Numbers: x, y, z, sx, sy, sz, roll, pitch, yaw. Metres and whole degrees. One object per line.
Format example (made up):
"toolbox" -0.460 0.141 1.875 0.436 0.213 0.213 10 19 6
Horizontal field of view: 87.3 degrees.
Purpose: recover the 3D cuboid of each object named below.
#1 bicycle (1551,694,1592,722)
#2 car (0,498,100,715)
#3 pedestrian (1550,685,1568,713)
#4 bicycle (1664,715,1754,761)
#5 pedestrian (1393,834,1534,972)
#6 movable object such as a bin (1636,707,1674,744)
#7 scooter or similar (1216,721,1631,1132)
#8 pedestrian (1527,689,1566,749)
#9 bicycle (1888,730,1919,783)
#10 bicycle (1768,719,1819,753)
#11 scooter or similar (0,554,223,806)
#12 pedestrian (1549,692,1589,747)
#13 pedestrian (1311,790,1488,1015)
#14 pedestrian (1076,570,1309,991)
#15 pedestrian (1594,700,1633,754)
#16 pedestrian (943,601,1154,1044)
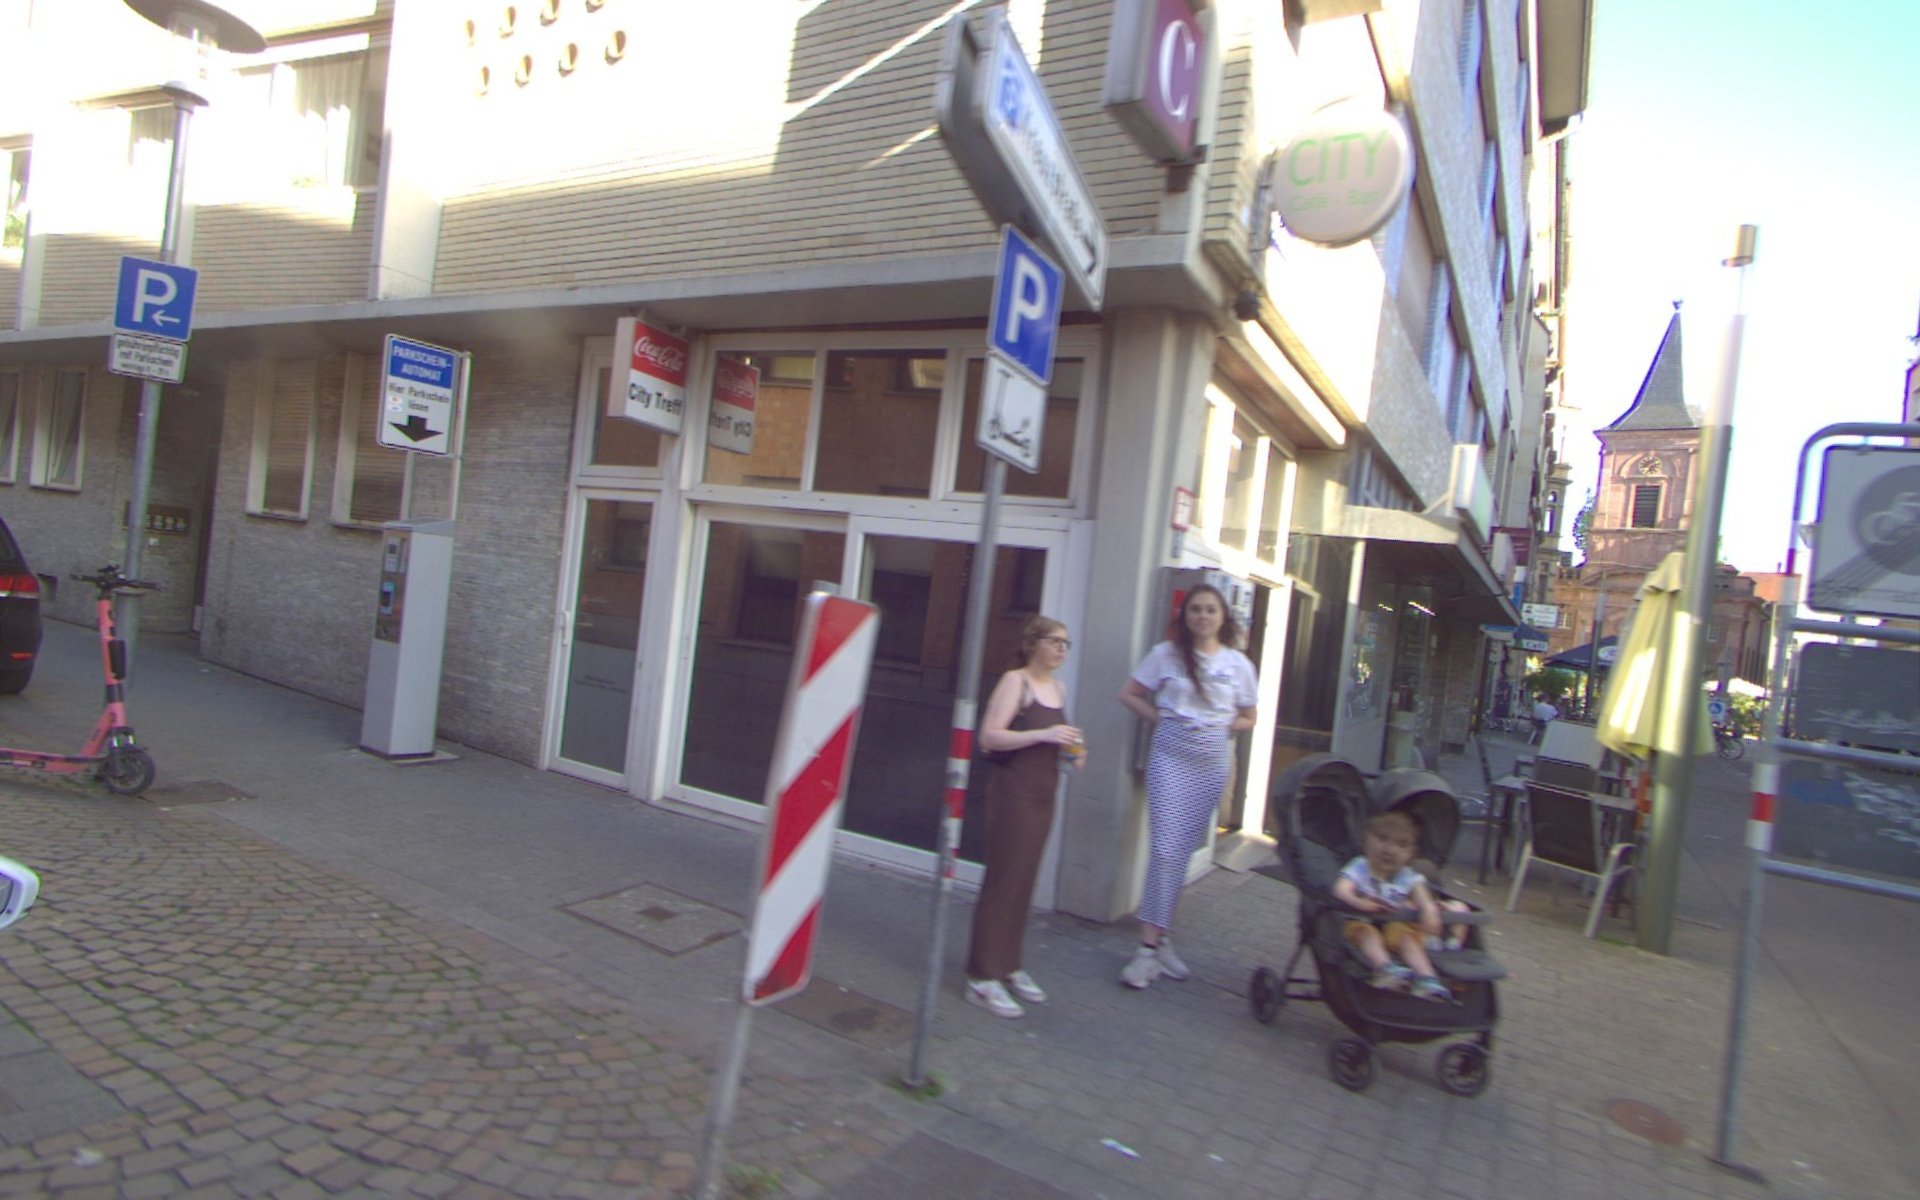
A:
"bicycle" 26.794 4.740 44.098 0.502 1.015 1.388 6 0 -29
"car" -8.933 -0.242 7.911 4.522 1.521 1.828 7 -3 31
"pedestrian" 33.810 5.572 56.768 0.617 1.468 0.797 7 1 23
"bicycle" 23.736 4.357 31.936 2.133 0.996 0.814 8 1 34
"pedestrian" 1.901 1.140 3.820 0.326 0.403 0.312 7 0 -4
"movable object such as a bin" 24.556 4.420 35.559 0.889 1.137 0.779 7 1 29
"scooter or similar" 1.721 1.186 3.916 0.858 1.192 1.040 7 2 -17
"pedestrian" 14.710 2.978 25.228 0.654 1.372 0.550 7 1 26
"bicycle" 27.936 4.592 28.613 2.106 1.361 0.589 7 -8 36
"bicycle" 33.395 5.448 40.307 1.792 1.168 0.408 7 1 -11
"scooter or similar" -4.971 0.413 5.591 1.282 1.209 0.494 7 1 2
"pedestrian" 16.575 3.228 27.380 0.752 1.372 0.549 7 1 35
"pedestrian" 1.580 1.075 3.666 0.326 0.641 0.509 7 0 -4
"pedestrian" 1.029 0.780 4.571 0.617 1.758 0.620 6 1 -16
"pedestrian" 18.197 3.520 27.998 0.752 1.372 0.549 7 1 35
"pedestrian" 0.350 0.812 3.940 0.435 1.562 0.571 8 4 39
